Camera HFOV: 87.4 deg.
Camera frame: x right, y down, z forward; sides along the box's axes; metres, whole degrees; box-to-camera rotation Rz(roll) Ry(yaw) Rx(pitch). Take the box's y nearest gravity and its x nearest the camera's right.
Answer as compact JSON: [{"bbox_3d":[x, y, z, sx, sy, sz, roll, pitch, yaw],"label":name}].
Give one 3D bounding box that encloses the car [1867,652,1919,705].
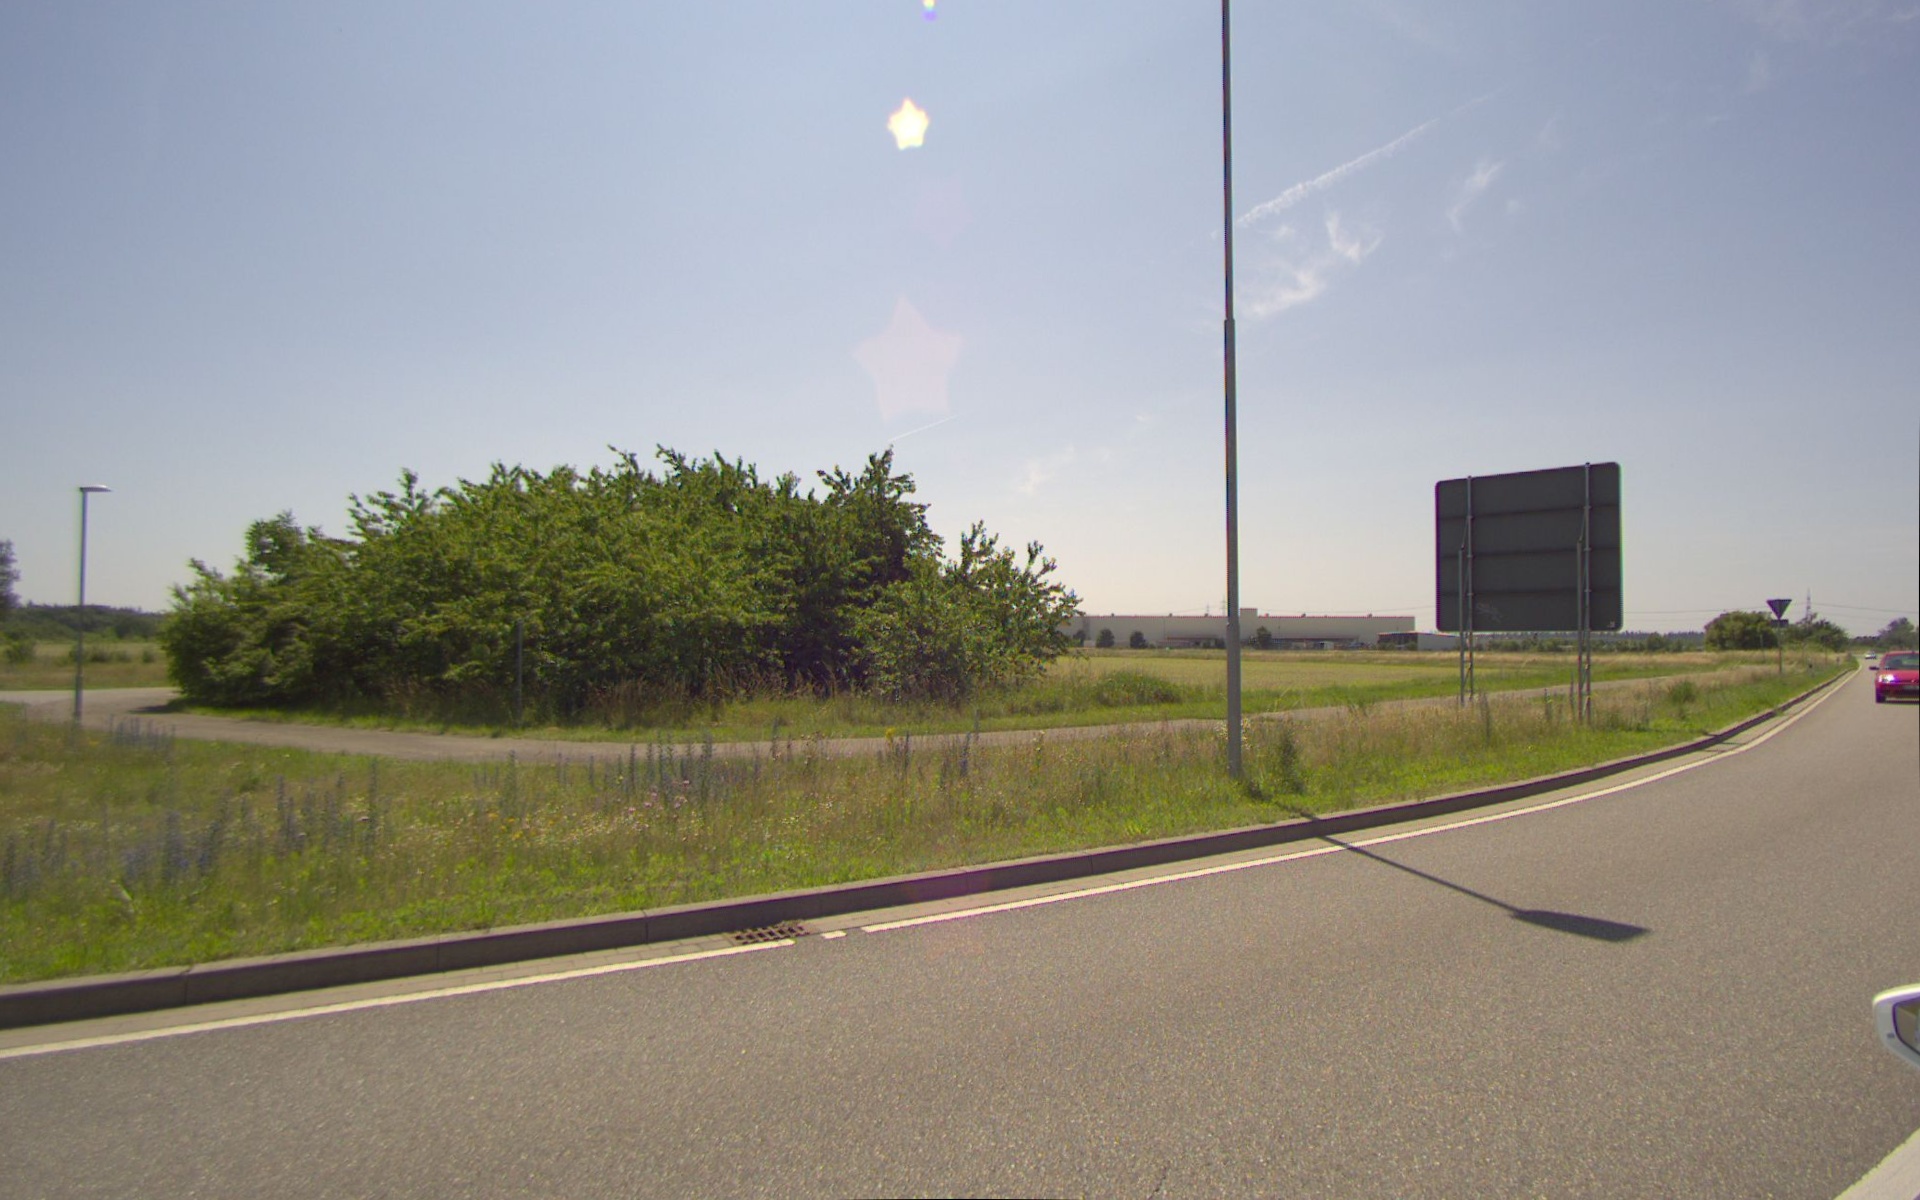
[{"bbox_3d":[27.214,2.212,28.755,1.639,1.452,3.713,-4,-5,45],"label":"car"}]
